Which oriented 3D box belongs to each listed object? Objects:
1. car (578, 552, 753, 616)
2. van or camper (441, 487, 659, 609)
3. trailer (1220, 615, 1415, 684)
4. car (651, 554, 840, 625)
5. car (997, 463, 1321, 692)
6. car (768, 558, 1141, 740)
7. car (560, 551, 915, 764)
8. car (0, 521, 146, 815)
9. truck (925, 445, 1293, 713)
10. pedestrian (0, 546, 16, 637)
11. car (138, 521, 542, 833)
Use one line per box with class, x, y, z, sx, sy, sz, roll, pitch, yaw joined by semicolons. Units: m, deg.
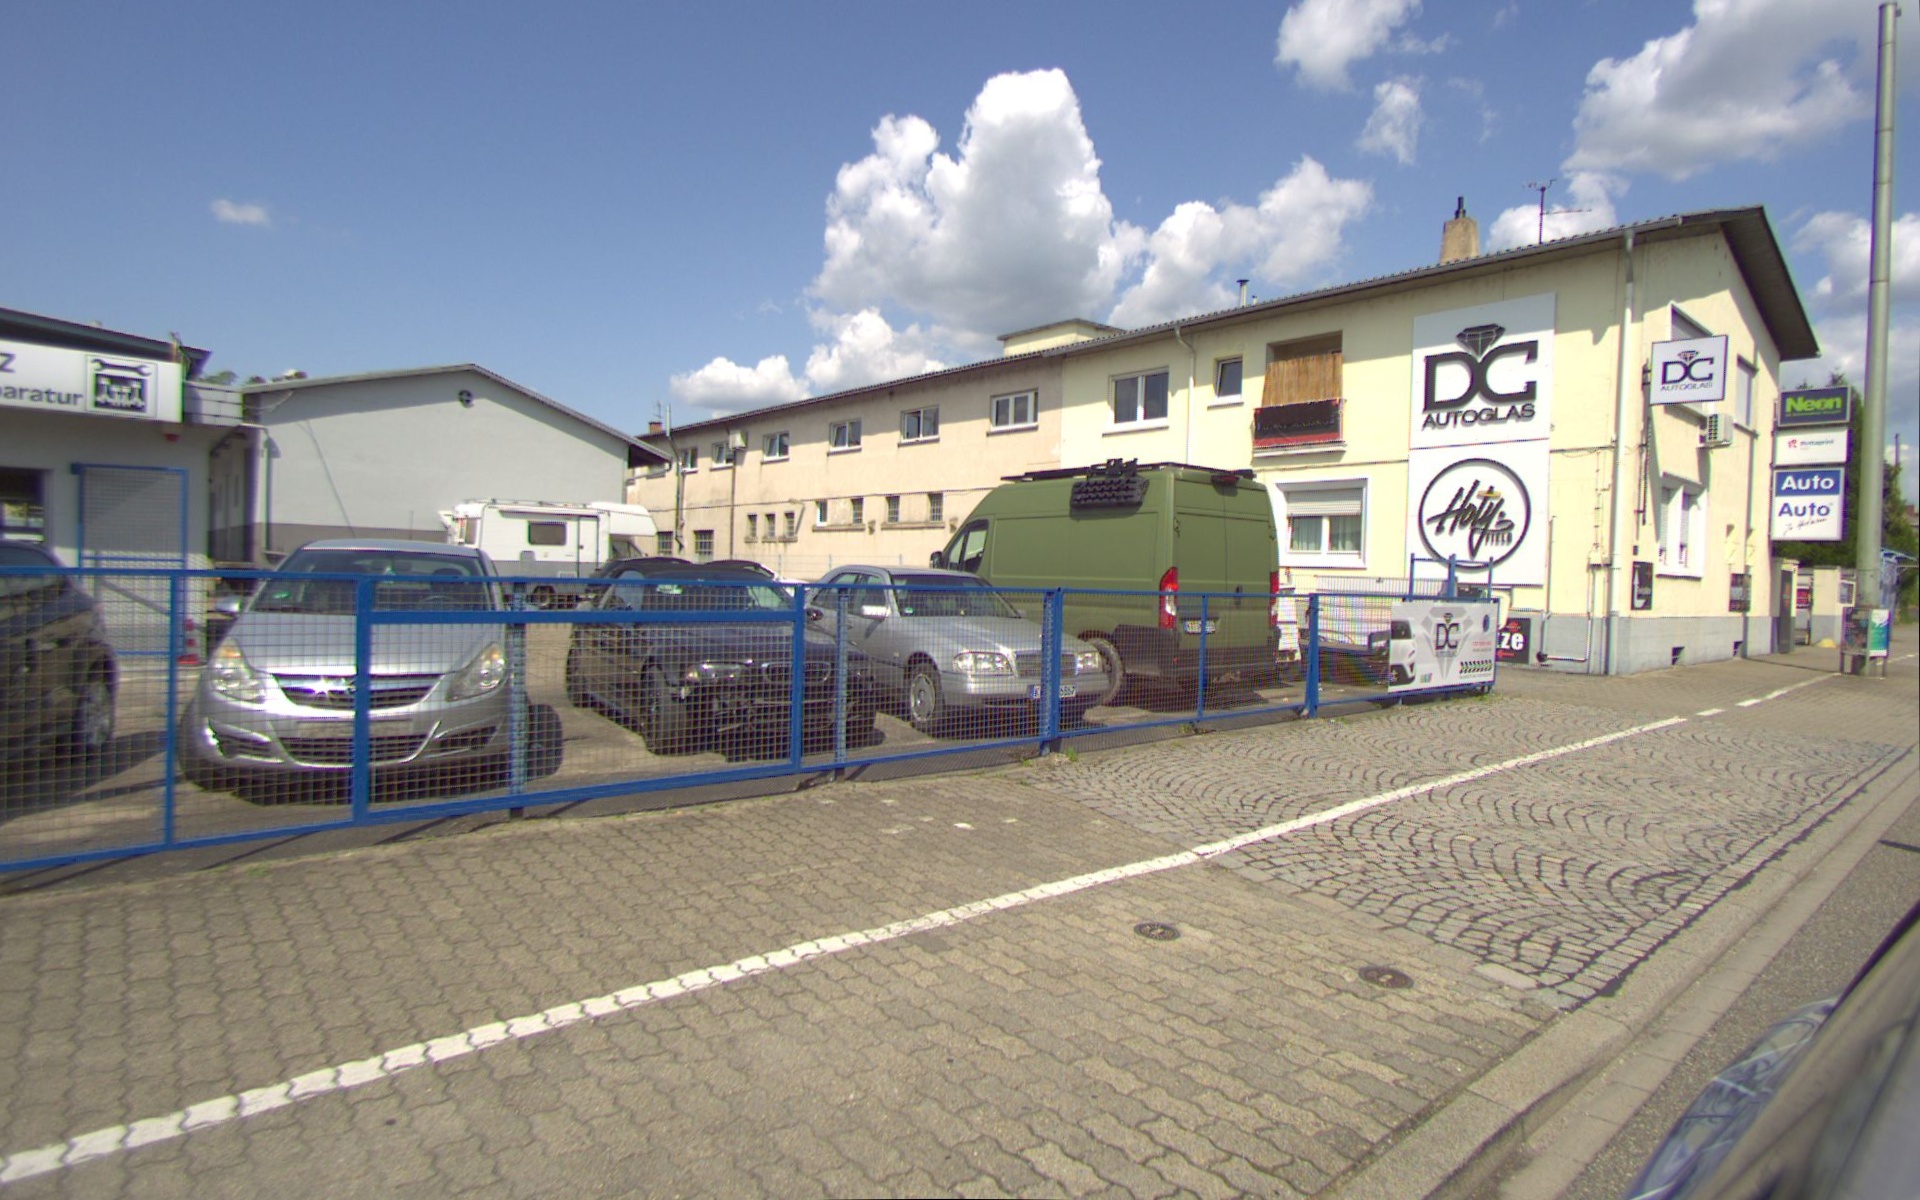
car;-7.476;-0.410;25.890;3.939;1.497;1.719;0;2;-41
van or camper;-11.004;-1.323;27.369;4.971;2.999;2.284;0;2;-42
trailer;5.085;0.672;14.529;1.245;0.776;2.330;0;2;-39
car;-4.923;-0.245;23.520;3.939;1.497;1.719;0;2;-41
car;2.615;-0.344;14.143;1.771;2.702;4.208;1;2;-40
car;-0.293;0.321;10.206;1.768;1.413;4.216;1;2;-33
car;-2.122;0.311;8.747;1.768;1.403;3.837;1;2;-32
car;-5.744;0.325;5.035;1.685;1.497;4.012;1;2;-25
truck;1.626;-0.283;12.146;2.033;2.639;3.996;1;2;-40
pedestrian;-13.256;-0.128;13.842;0.479;1.228;0.501;1;1;-42
car;-3.948;0.303;7.103;1.766;1.497;4.158;1;2;-24
